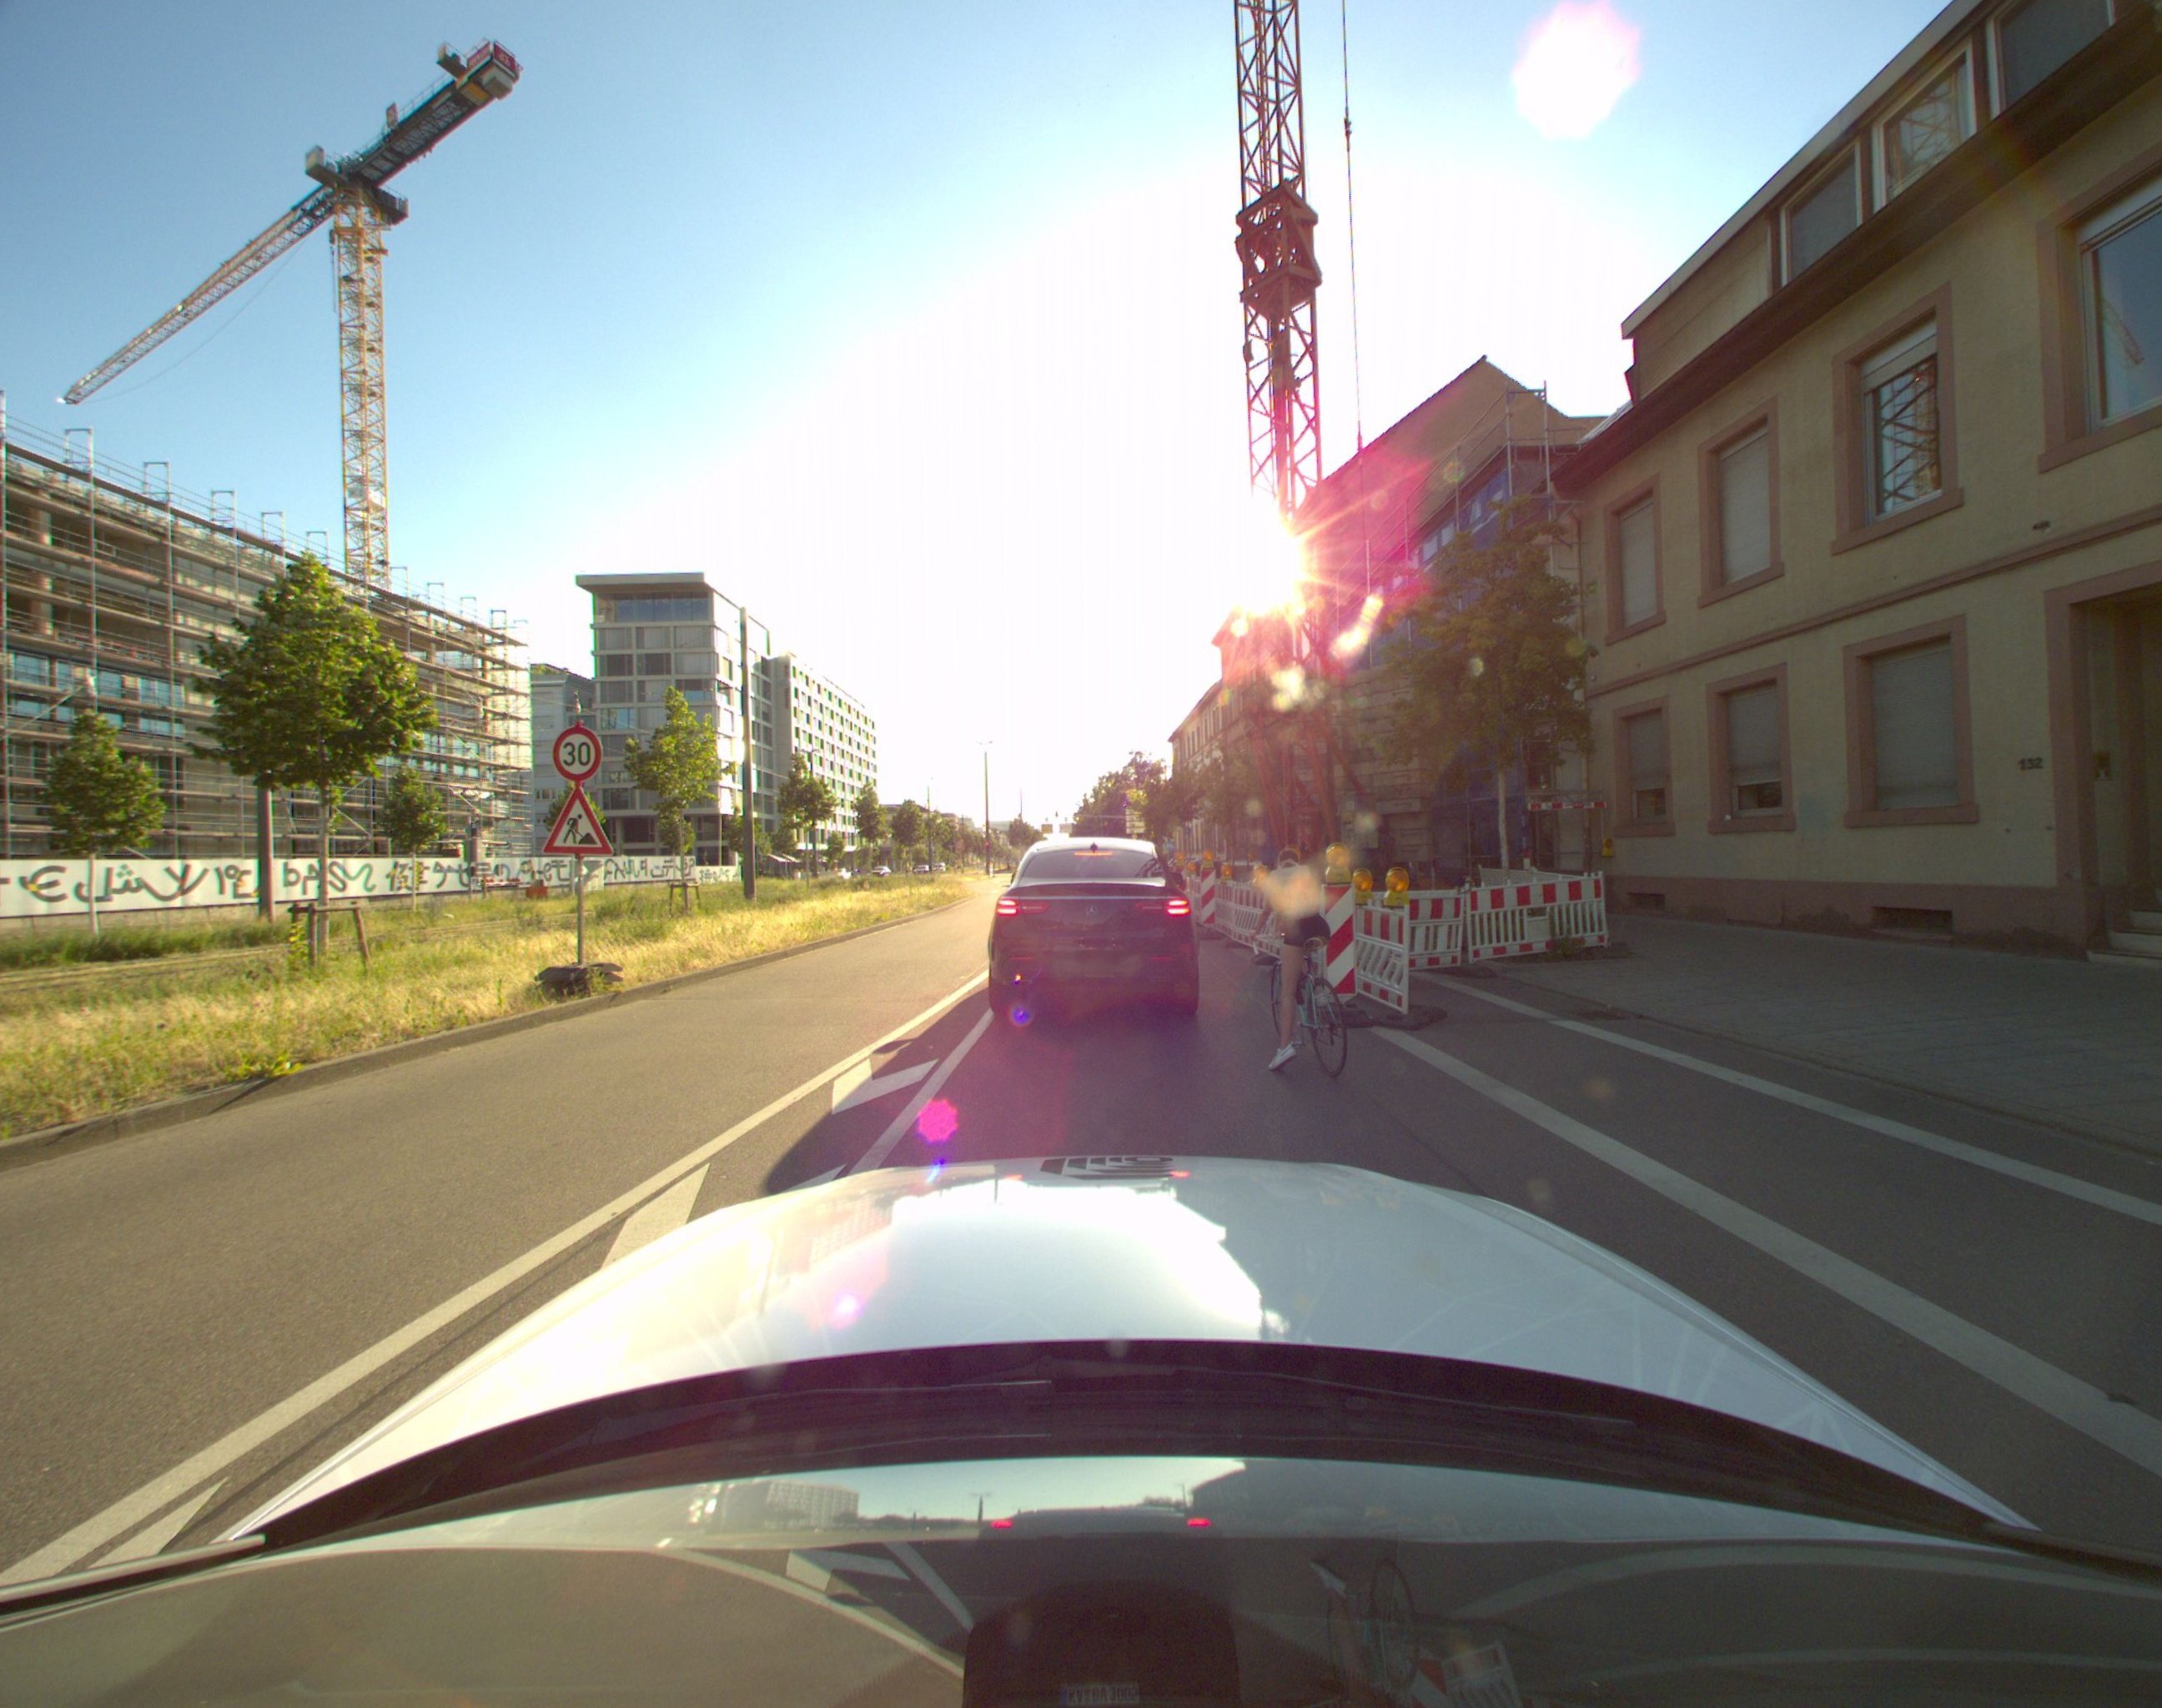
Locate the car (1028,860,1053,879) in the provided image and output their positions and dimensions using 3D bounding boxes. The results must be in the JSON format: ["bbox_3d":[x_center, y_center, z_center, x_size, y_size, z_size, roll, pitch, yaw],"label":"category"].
[{"bbox_3d":[-3.104,1.166,62.981,1.703,1.442,3.581,0,-1,0],"label":"car"}]

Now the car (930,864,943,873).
[{"bbox_3d":[-26.034,2.604,146.410,1.703,1.442,3.581,0,-1,0],"label":"car"}]

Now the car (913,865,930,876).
[{"bbox_3d":[-22.648,2.332,115.606,1.703,1.442,3.581,0,-1,0],"label":"car"}]

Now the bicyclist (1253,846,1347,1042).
[{"bbox_3d":[1.628,0.643,6.123,0.521,1.395,0.614,0,-1,-1],"label":"bicyclist"}]

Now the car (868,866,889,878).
[{"bbox_3d":[-25.515,2.246,102.610,1.703,1.442,3.581,0,-1,0],"label":"car"}]

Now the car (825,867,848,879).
[{"bbox_3d":[-28.818,2.216,96.016,1.703,1.442,3.581,0,-1,0],"label":"car"}]

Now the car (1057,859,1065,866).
[{"bbox_3d":[-4.533,1.911,184.088,1.703,1.442,3.581,0,-1,0],"label":"car"}]

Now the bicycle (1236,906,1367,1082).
[{"bbox_3d":[1.614,0.976,6.222,0.511,1.052,1.724,0,-1,-1],"label":"bicycle"}]

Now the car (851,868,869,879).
[{"bbox_3d":[-32.179,2.803,118.535,1.703,1.442,3.581,0,-1,0],"label":"car"}]

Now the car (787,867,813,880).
[{"bbox_3d":[-32.362,2.223,93.856,1.703,1.442,3.581,0,-1,0],"label":"car"}]

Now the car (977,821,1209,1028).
[{"bbox_3d":[0.167,0.623,9.013,1.986,1.772,4.001,0,-1,2],"label":"car"}]

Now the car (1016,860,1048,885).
[{"bbox_3d":[-2.963,1.102,49.755,1.703,1.442,3.581,0,-1,0],"label":"car"}]

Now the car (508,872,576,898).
[{"bbox_3d":[-32.558,1.864,49.294,1.703,1.442,3.581,0,-1,0],"label":"car"}]

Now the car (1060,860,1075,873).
[{"bbox_3d":[-1.618,1.482,97.952,1.703,1.442,3.581,0,-1,0],"label":"car"}]
